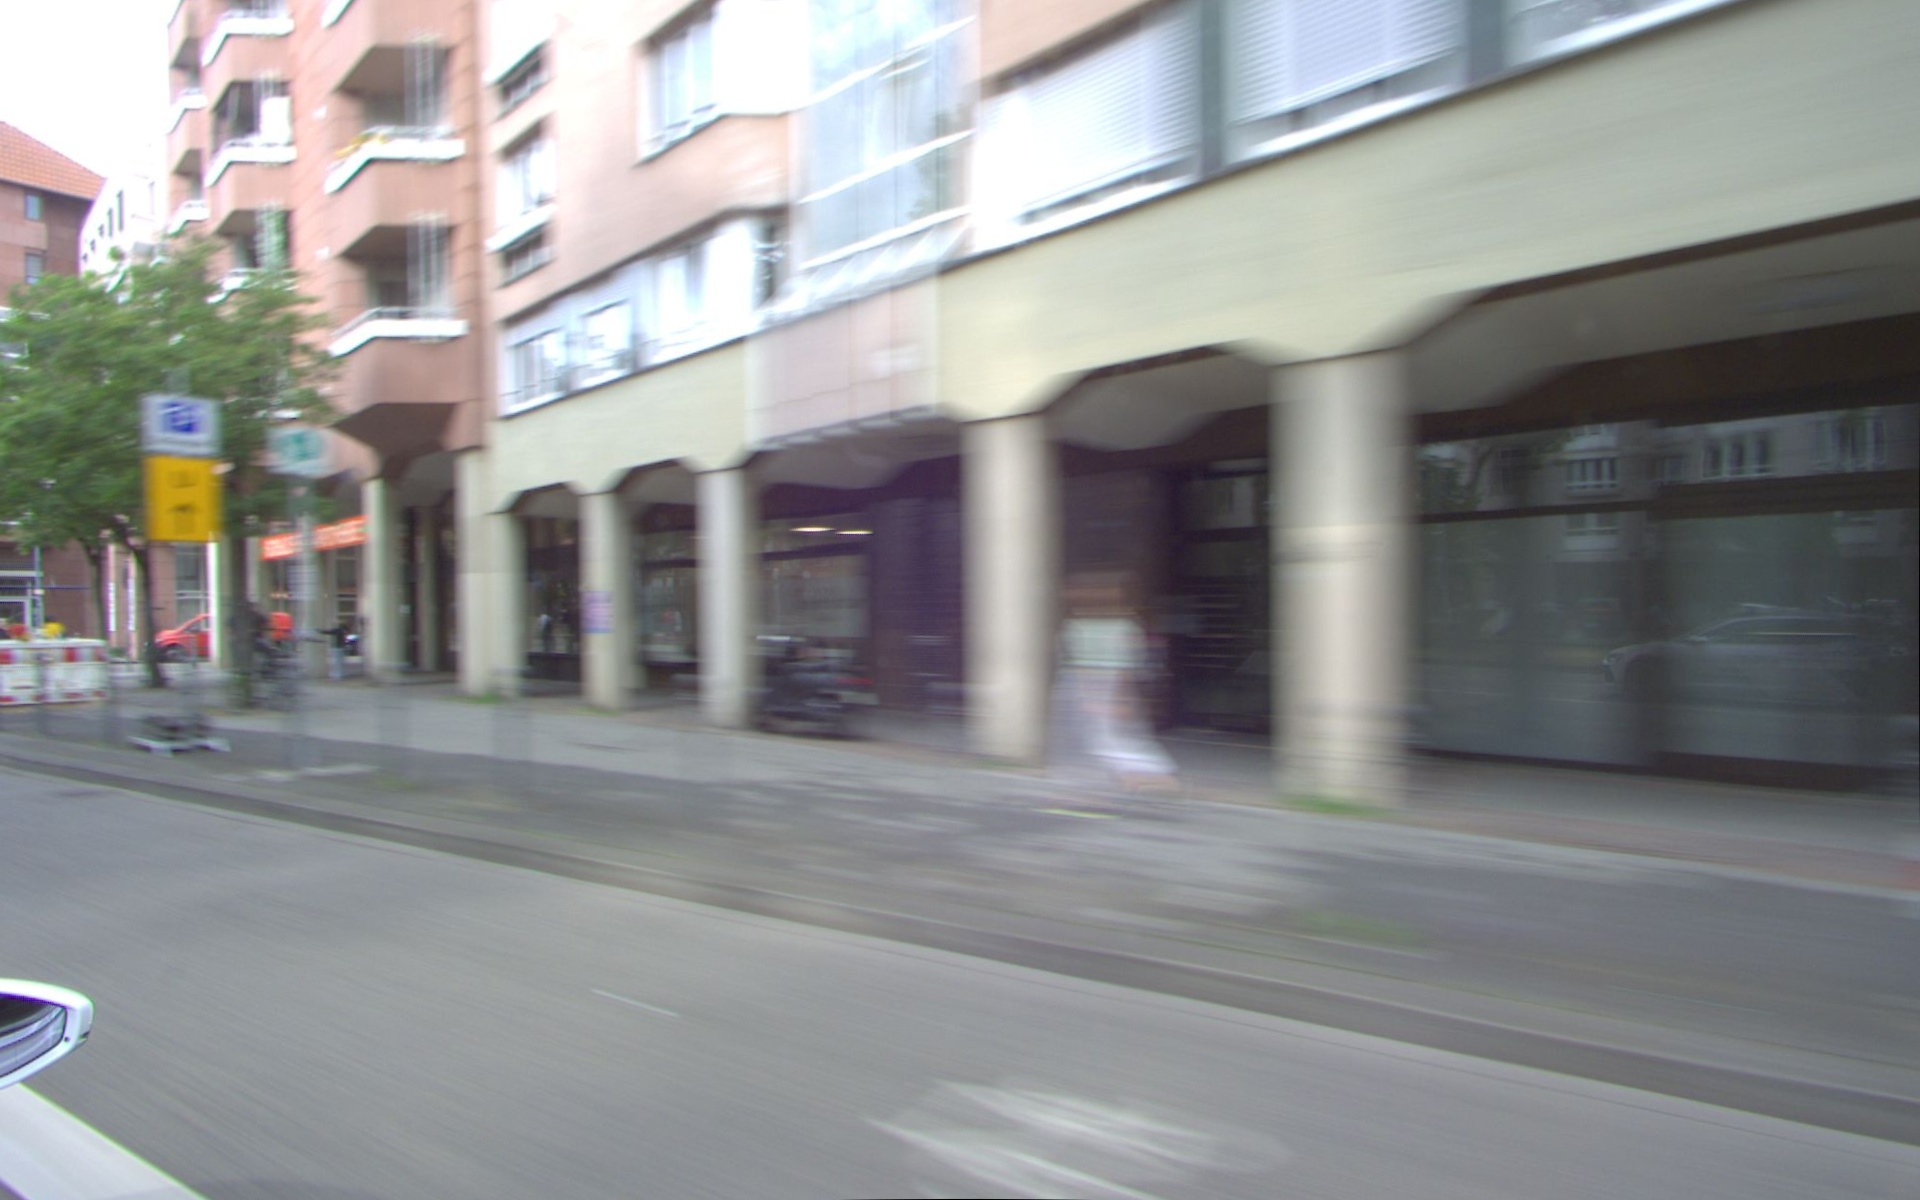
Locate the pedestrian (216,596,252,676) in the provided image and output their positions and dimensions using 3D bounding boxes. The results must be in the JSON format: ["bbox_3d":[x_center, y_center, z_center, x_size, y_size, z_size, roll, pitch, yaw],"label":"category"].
[{"bbox_3d":[-16.806,0.819,23.173,0.650,1.823,0.548,0,0,43],"label":"pedestrian"}]

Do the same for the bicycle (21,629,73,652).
[{"bbox_3d":[-42.179,1.877,46.284,0.432,1.021,1.723,0,-1,38],"label":"bicycle"}]

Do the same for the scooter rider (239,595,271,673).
[{"bbox_3d":[-16.076,0.771,22.828,0.546,1.743,0.460,0,0,40],"label":"scooter rider"}]

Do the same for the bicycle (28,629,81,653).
[{"bbox_3d":[-41.324,1.864,45.707,0.472,1.021,1.723,0,-1,38],"label":"bicycle"}]

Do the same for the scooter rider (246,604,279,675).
[{"bbox_3d":[-15.643,0.879,22.458,0.558,1.577,0.459,0,0,39],"label":"scooter rider"}]

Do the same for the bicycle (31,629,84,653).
[{"bbox_3d":[-40.927,1.858,45.431,0.419,1.021,1.723,0,-1,38],"label":"bicycle"}]

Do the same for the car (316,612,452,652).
[{"bbox_3d":[-25.117,1.376,43.808,1.980,1.610,4.799,-3,-3,43],"label":"car"}]

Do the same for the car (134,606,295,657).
[{"bbox_3d":[-29.130,1.224,39.241,1.980,1.848,4.799,-3,-2,43],"label":"car"}]

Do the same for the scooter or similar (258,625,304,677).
[{"bbox_3d":[-16.011,1.192,23.590,1.390,1.185,0.551,-1,0,41],"label":"scooter or similar"}]

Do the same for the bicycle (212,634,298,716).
[{"bbox_3d":[-10.613,1.095,15.056,1.782,1.132,0.610,0,0,39],"label":"bicycle"}]

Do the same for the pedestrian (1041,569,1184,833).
[{"bbox_3d":[1.036,0.647,6.785,0.813,1.671,0.542,0,0,32],"label":"pedestrian"}]

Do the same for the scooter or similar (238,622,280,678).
[{"bbox_3d":[-15.840,1.118,22.629,1.315,1.222,0.471,-1,0,41],"label":"scooter or similar"}]

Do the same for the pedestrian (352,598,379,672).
[{"bbox_3d":[-14.942,0.868,25.177,0.545,1.823,0.654,0,0,-28],"label":"pedestrian"}]

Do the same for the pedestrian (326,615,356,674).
[{"bbox_3d":[-14.264,1.023,23.069,0.480,1.341,0.484,0,0,42],"label":"pedestrian"}]

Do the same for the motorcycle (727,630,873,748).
[{"bbox_3d":[-1.846,0.961,11.363,1.883,1.171,0.613,0,2,43],"label":"motorcycle"}]

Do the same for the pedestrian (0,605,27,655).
[{"bbox_3d":[-30.279,0.955,31.929,0.935,1.558,0.673,0,0,39],"label":"pedestrian"}]
